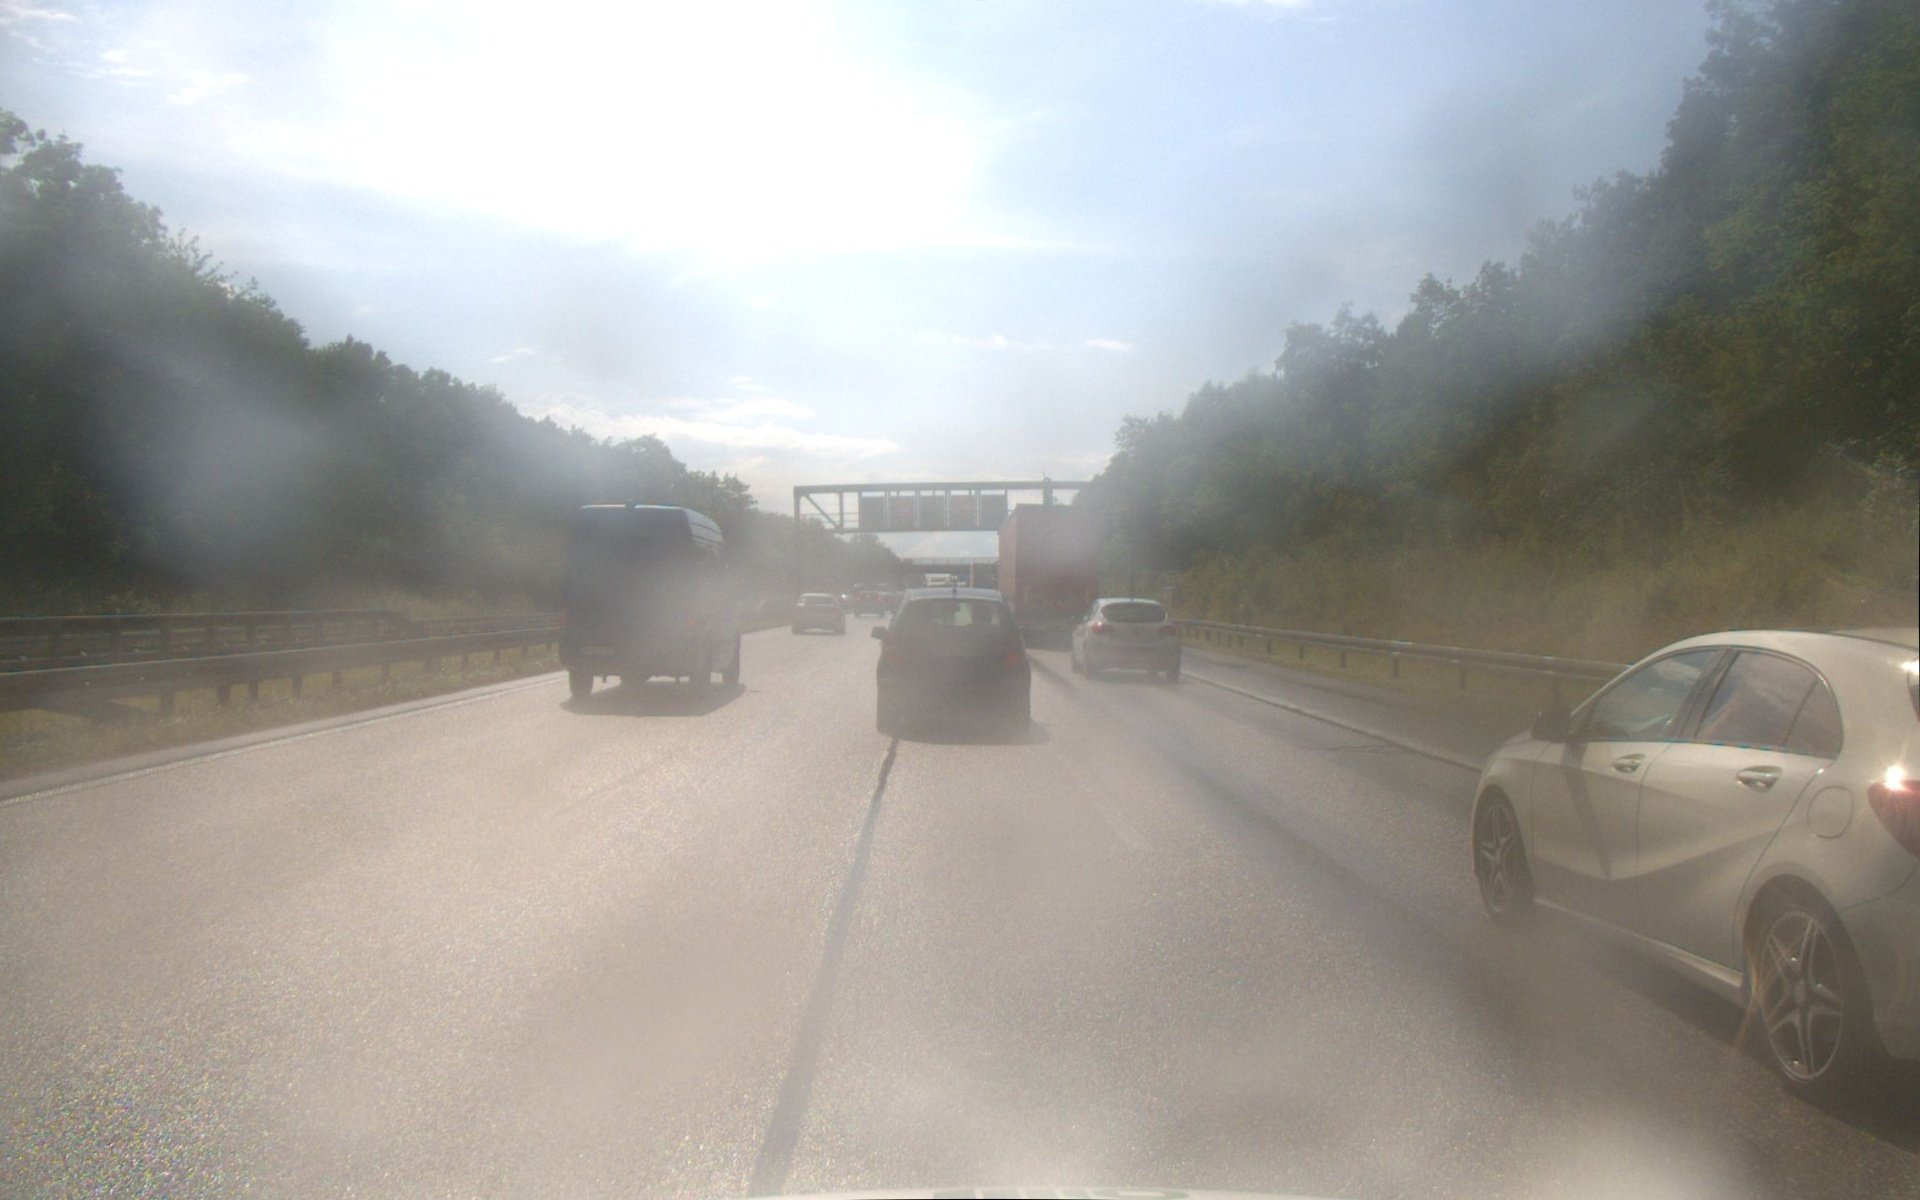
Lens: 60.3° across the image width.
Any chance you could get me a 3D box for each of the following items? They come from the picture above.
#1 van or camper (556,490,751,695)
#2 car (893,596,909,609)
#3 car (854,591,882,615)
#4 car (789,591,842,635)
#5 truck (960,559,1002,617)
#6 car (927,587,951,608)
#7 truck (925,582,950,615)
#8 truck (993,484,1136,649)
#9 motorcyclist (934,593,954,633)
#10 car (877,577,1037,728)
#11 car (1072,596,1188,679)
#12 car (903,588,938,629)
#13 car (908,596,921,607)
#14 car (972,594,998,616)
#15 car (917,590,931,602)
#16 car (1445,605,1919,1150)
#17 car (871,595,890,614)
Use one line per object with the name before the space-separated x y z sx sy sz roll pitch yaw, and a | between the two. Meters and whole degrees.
van or camper | -4.464 -0.097 24.945 1.953 2.715 5.384 1 0 -1
car | -5.974 0.211 166.911 1.518 1.289 3.482 1 0 -3
car | -5.902 0.215 106.696 1.716 1.482 3.388 1 0 -3
car | -5.376 0.468 61.909 1.817 1.578 3.483 1 0 -3
truck | 1.679 -0.983 138.462 3.190 4.558 12.418 1 0 -1
car | -1.426 -0.183 112.822 1.521 1.407 3.208 1 0 -3
truck | -2.108 -0.146 154.746 2.148 2.925 4.847 1 0 -3
truck | 3.264 -0.991 57.207 3.575 4.803 16.775 1 0 -1
motorcyclist | -0.658 0.529 69.141 0.785 1.662 1.013 1 0 -3
car | -0.105 0.567 19.482 1.683 1.595 3.483 1 0 -3
car | 3.180 0.669 31.589 1.647 1.467 3.903 1 0 -3
car | -1.821 0.367 74.927 1.501 1.777 3.483 1 0 -3
car | -5.629 0.179 206.377 1.518 1.289 3.482 1 0 -3
car | 1.676 0.341 111.399 1.521 1.407 3.208 1 0 -3
car | -5.355 -0.536 245.870 1.953 1.764 3.999 1 0 -1
car | 3.384 0.769 6.464 1.658 1.450 4.219 1 0 -1
car | -6.167 0.329 128.482 1.431 1.418 3.310 1 0 -3
